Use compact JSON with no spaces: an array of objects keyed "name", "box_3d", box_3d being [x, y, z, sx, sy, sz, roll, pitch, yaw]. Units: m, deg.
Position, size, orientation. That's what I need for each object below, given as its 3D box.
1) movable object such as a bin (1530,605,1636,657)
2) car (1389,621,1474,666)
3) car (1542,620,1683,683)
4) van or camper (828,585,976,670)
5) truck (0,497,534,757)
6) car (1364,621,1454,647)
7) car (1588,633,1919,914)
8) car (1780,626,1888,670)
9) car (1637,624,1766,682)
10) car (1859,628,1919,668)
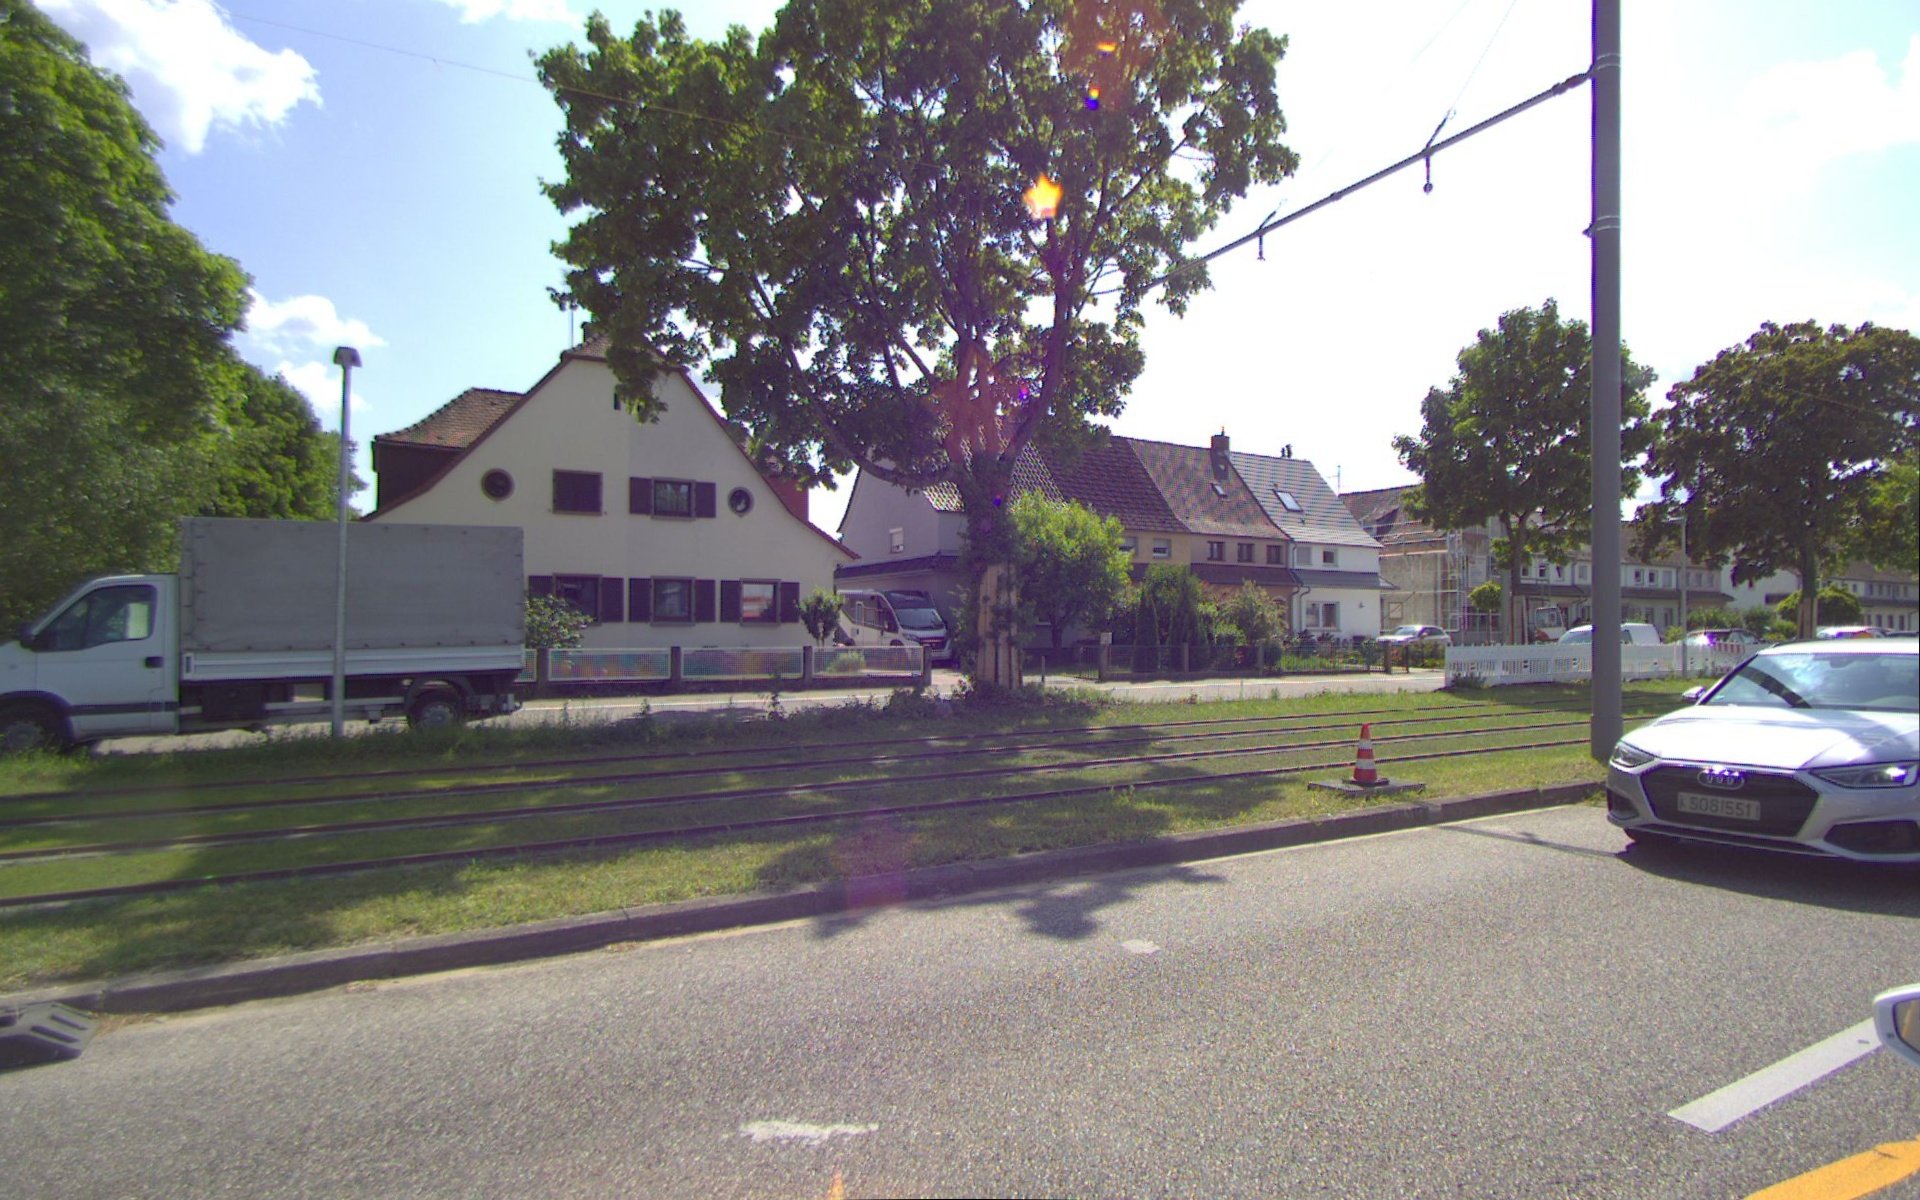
[{"name":"movable object such as a bin","box_3d":[30.855,1.541,49.778,4.283,2.482,1.781,-1,-2,39]},{"name":"car","box_3d":[18.833,1.754,40.153,2.995,1.744,1.677,2,-3,-30]},{"name":"car","box_3d":[19.495,1.540,29.988,3.953,1.772,1.984,2,-3,-30]},{"name":"van or camper","box_3d":[-2.241,0.901,36.663,2.672,2.675,6.055,2,1,-33]},{"name":"truck","box_3d":[-8.911,0.387,12.841,6.203,2.803,1.985,1,-4,-31]},{"name":"car","box_3d":[19.853,1.523,44.407,3.934,1.066,1.677,2,-3,-30]},{"name":"car","box_3d":[6.406,0.969,7.097,4.255,1.466,1.646,1,-2,-32]},{"name":"car","box_3d":[33.736,1.848,38.750,3.953,1.627,1.984,2,-3,-30]},{"name":"car","box_3d":[24.204,1.712,32.766,3.953,1.772,1.984,2,-3,-30]},{"name":"car","box_3d":[40.230,2.056,42.610,3.953,1.627,1.984,2,-3,-30]}]
